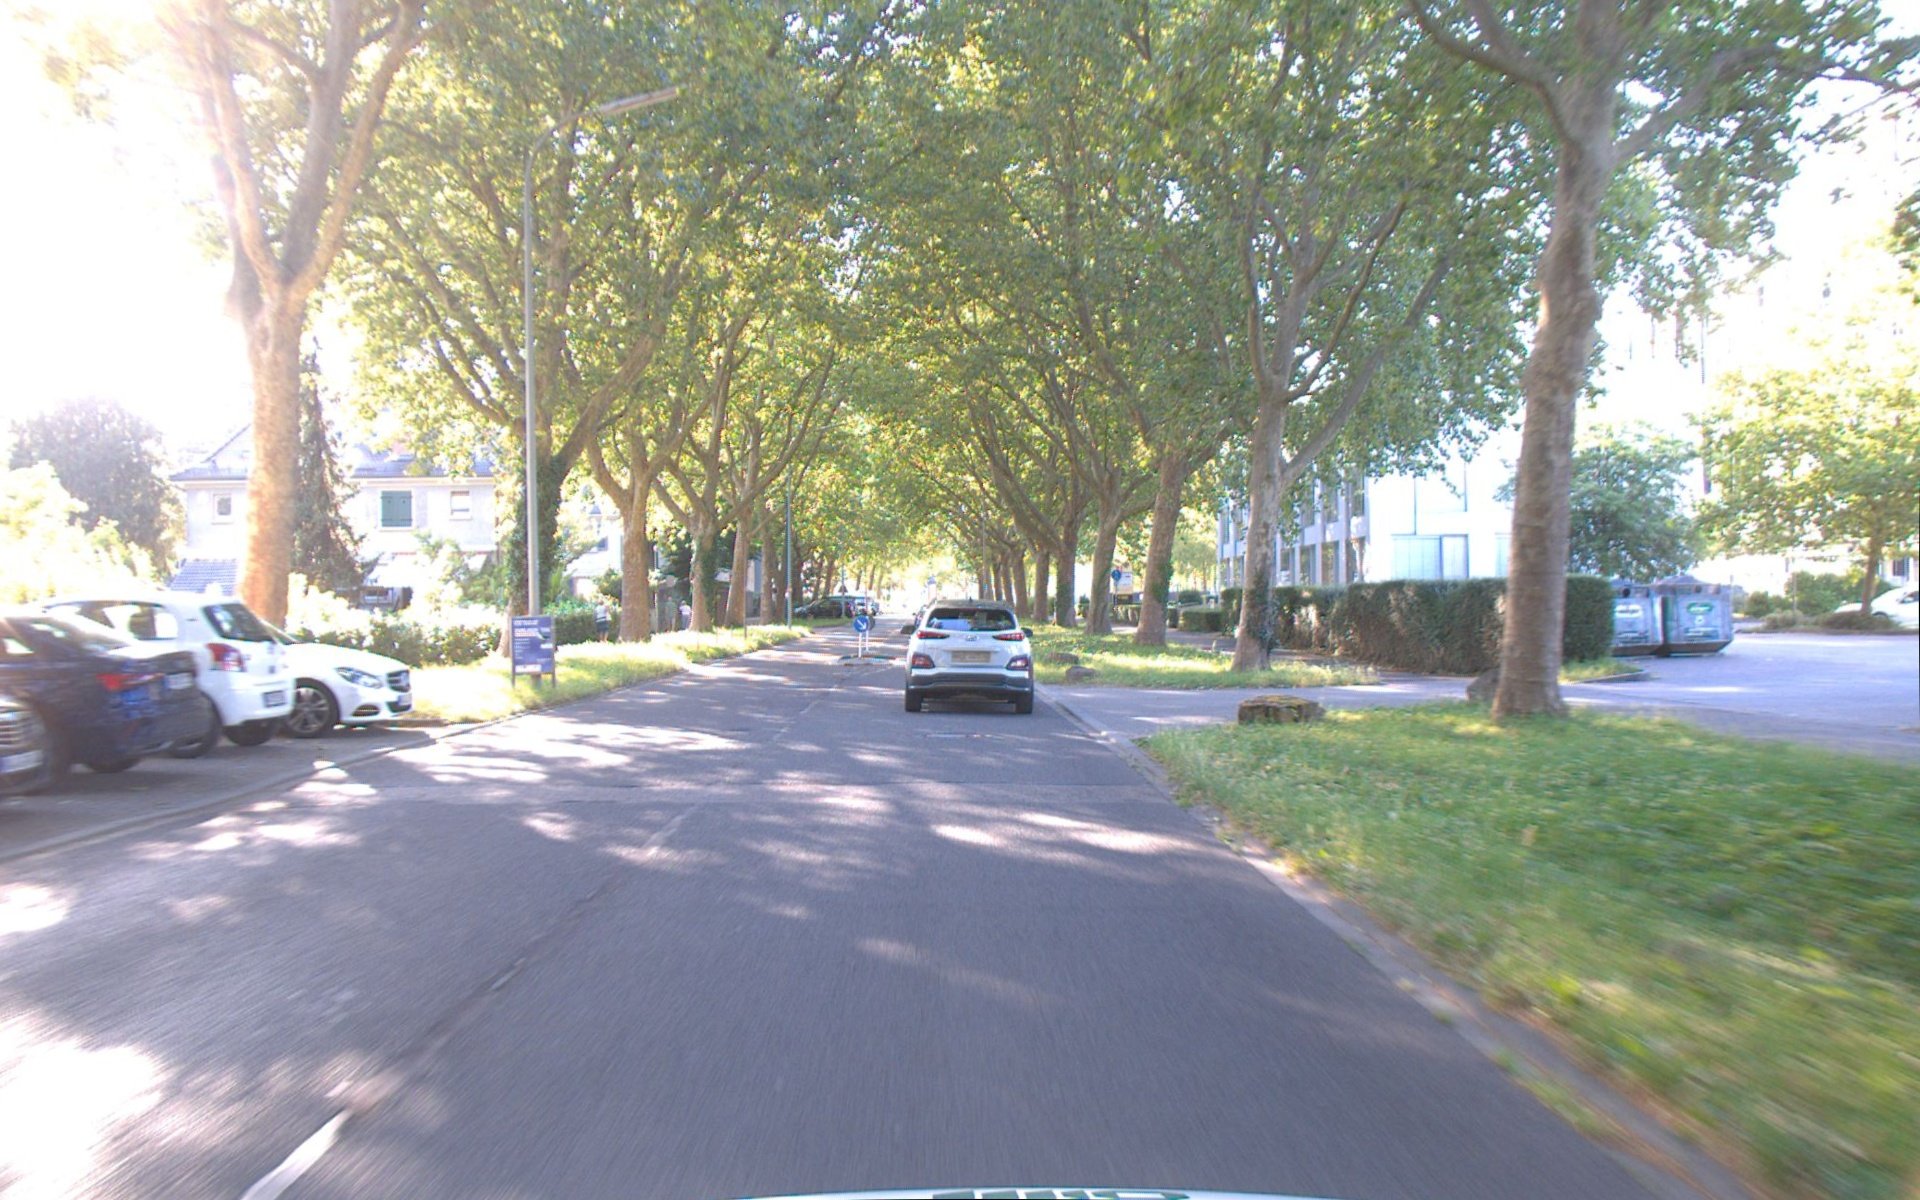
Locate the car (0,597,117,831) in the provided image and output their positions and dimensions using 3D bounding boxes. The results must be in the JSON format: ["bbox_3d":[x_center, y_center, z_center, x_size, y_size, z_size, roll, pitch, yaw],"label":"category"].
[{"bbox_3d":[-8.096,0.732,11.141,3.907,1.496,1.780,0,0,-3],"label":"car"}]

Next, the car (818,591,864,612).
[{"bbox_3d":[-10.403,0.148,144.299,3.910,1.803,1.998,0,0,-6],"label":"car"}]

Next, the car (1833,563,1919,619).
[{"bbox_3d":[31.930,-0.327,55.775,3.904,1.803,2.001,-1,0,2],"label":"car"}]

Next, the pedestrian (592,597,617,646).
[{"bbox_3d":[-12.693,0.751,59.127,0.734,1.737,0.793,0,-1,-1],"label":"pedestrian"}]

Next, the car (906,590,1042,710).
[{"bbox_3d":[0.145,0.682,24.169,1.798,1.583,3.999,1,0,-1],"label":"car"}]

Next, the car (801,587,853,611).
[{"bbox_3d":[-10.106,-0.086,125.349,3.910,1.803,1.997,0,-1,-6],"label":"car"}]

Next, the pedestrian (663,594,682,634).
[{"bbox_3d":[-13.937,0.691,80.134,0.740,1.907,0.786,1,-1,-27],"label":"pedestrian"}]

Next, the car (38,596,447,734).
[{"bbox_3d":[-8.153,0.713,19.041,3.905,1.496,1.809,0,0,0],"label":"car"}]

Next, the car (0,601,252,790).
[{"bbox_3d":[-8.158,0.743,13.598,3.909,1.449,1.807,0,0,-6],"label":"car"}]

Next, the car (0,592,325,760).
[{"bbox_3d":[-8.516,0.701,16.178,3.907,1.546,1.808,0,0,-3],"label":"car"}]

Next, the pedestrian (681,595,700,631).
[{"bbox_3d":[-13.138,0.648,80.655,0.740,1.737,0.787,1,-1,-25],"label":"pedestrian"}]
